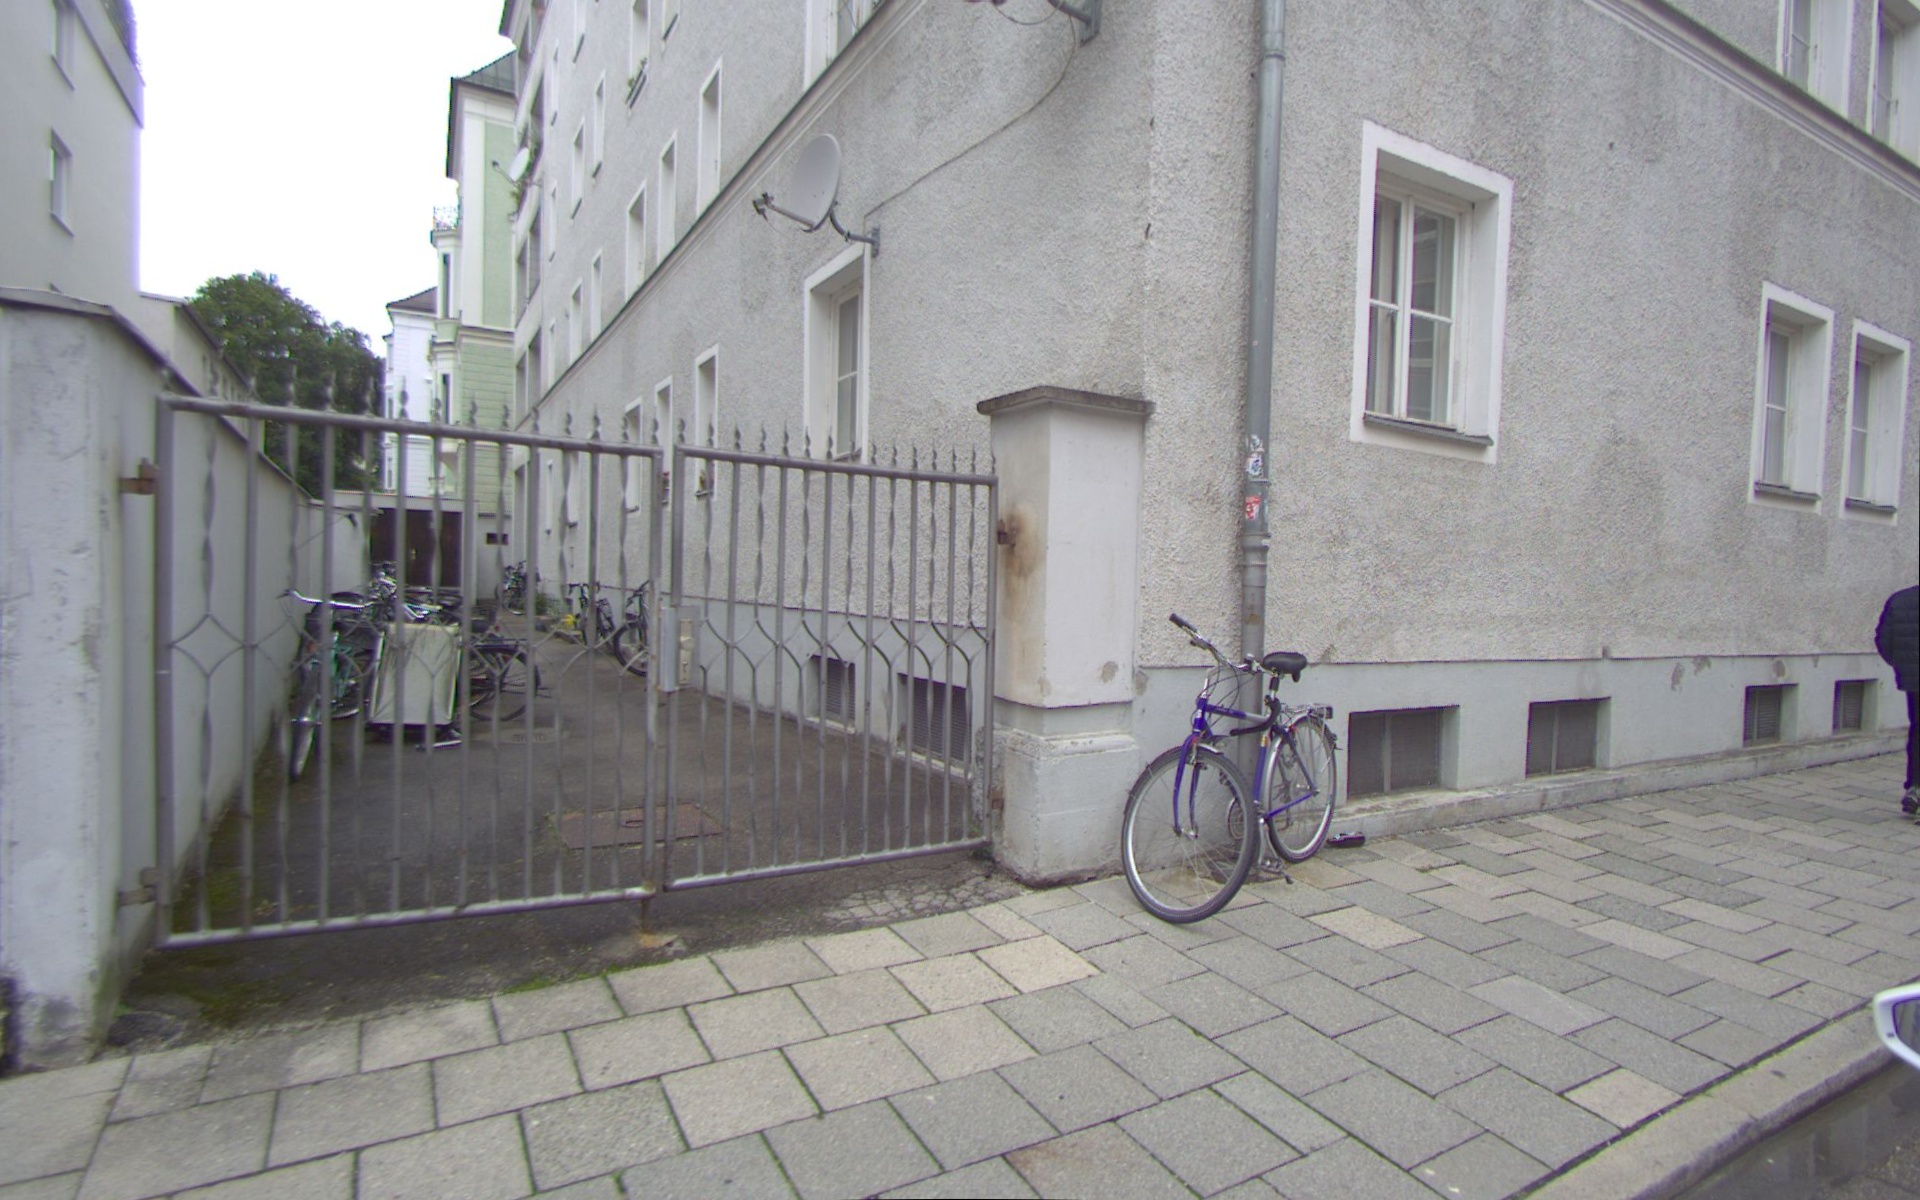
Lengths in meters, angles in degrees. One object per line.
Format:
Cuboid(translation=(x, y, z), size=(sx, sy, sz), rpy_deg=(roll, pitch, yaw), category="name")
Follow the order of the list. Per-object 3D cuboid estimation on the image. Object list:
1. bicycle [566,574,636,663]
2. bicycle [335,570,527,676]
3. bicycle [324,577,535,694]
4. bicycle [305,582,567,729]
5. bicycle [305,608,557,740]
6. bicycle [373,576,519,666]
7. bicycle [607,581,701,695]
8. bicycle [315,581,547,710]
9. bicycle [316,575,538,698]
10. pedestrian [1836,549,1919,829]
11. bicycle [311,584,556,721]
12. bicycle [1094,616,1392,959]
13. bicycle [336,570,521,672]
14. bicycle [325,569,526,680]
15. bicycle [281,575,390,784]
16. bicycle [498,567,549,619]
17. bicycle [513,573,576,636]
Cuboid(translation=(-5.208, 0.238, 14.510), size=(0.523, 1.175, 2.000), rpy_deg=(1, 1, -32), category="bicycle")
Cuboid(translation=(-6.257, 0.270, 11.940), size=(1.967, 1.175, 0.524), rpy_deg=(2, 1, -33), category="bicycle")
Cuboid(translation=(-5.732, 0.382, 10.912), size=(1.967, 1.175, 0.524), rpy_deg=(2, 1, -33), category="bicycle")
Cuboid(translation=(-4.542, 0.467, 8.803), size=(1.967, 1.175, 0.524), rpy_deg=(2, 1, -33), category="bicycle")
Cuboid(translation=(-4.311, 0.587, 8.279), size=(1.776, 0.989, 0.446), rpy_deg=(1, 1, -31), category="bicycle")
Cuboid(translation=(-6.786, 0.280, 13.290), size=(1.677, 1.140, 0.515), rpy_deg=(1, -1, -32), category="bicycle")
Cuboid(translation=(-3.583, 0.397, 11.645), size=(0.523, 1.175, 2.000), rpy_deg=(1, 1, -32), category="bicycle")
Cuboid(translation=(-5.176, 0.436, 9.905), size=(1.967, 1.175, 0.478), rpy_deg=(2, 1, -33), category="bicycle")
Cuboid(translation=(-5.469, 0.374, 10.388), size=(1.967, 1.175, 0.524), rpy_deg=(2, 1, -33), category="bicycle")
Cuboid(translation=(6.320, 0.567, 6.532), size=(0.814, 1.736, 0.609), rpy_deg=(1, 3, -31), category="pedestrian")
Cuboid(translation=(-4.893, 0.474, 9.422), size=(1.967, 1.175, 0.524), rpy_deg=(2, 1, -33), category="bicycle")
Cuboid(translation=(1.334, 0.705, 4.512), size=(0.634, 1.234, 1.657), rpy_deg=(2, 0, 40), category="bicycle")
Cuboid(translation=(-6.547, 0.263, 12.424), size=(1.967, 1.175, 0.524), rpy_deg=(2, 1, -33), category="bicycle")
Cuboid(translation=(-6.033, 0.280, 11.405), size=(1.967, 1.175, 0.485), rpy_deg=(2, 1, -33), category="bicycle")
Cuboid(translation=(-4.212, 0.440, 6.749), size=(0.523, 1.175, 2.000), rpy_deg=(1, 1, -33), category="bicycle")
Cuboid(translation=(-9.734, -0.164, 22.345), size=(0.524, 1.082, 1.996), rpy_deg=(1, 1, -38), category="bicycle")
Cuboid(translation=(-7.656, 0.063, 18.462), size=(0.524, 1.082, 1.996), rpy_deg=(1, 1, -38), category="bicycle")
